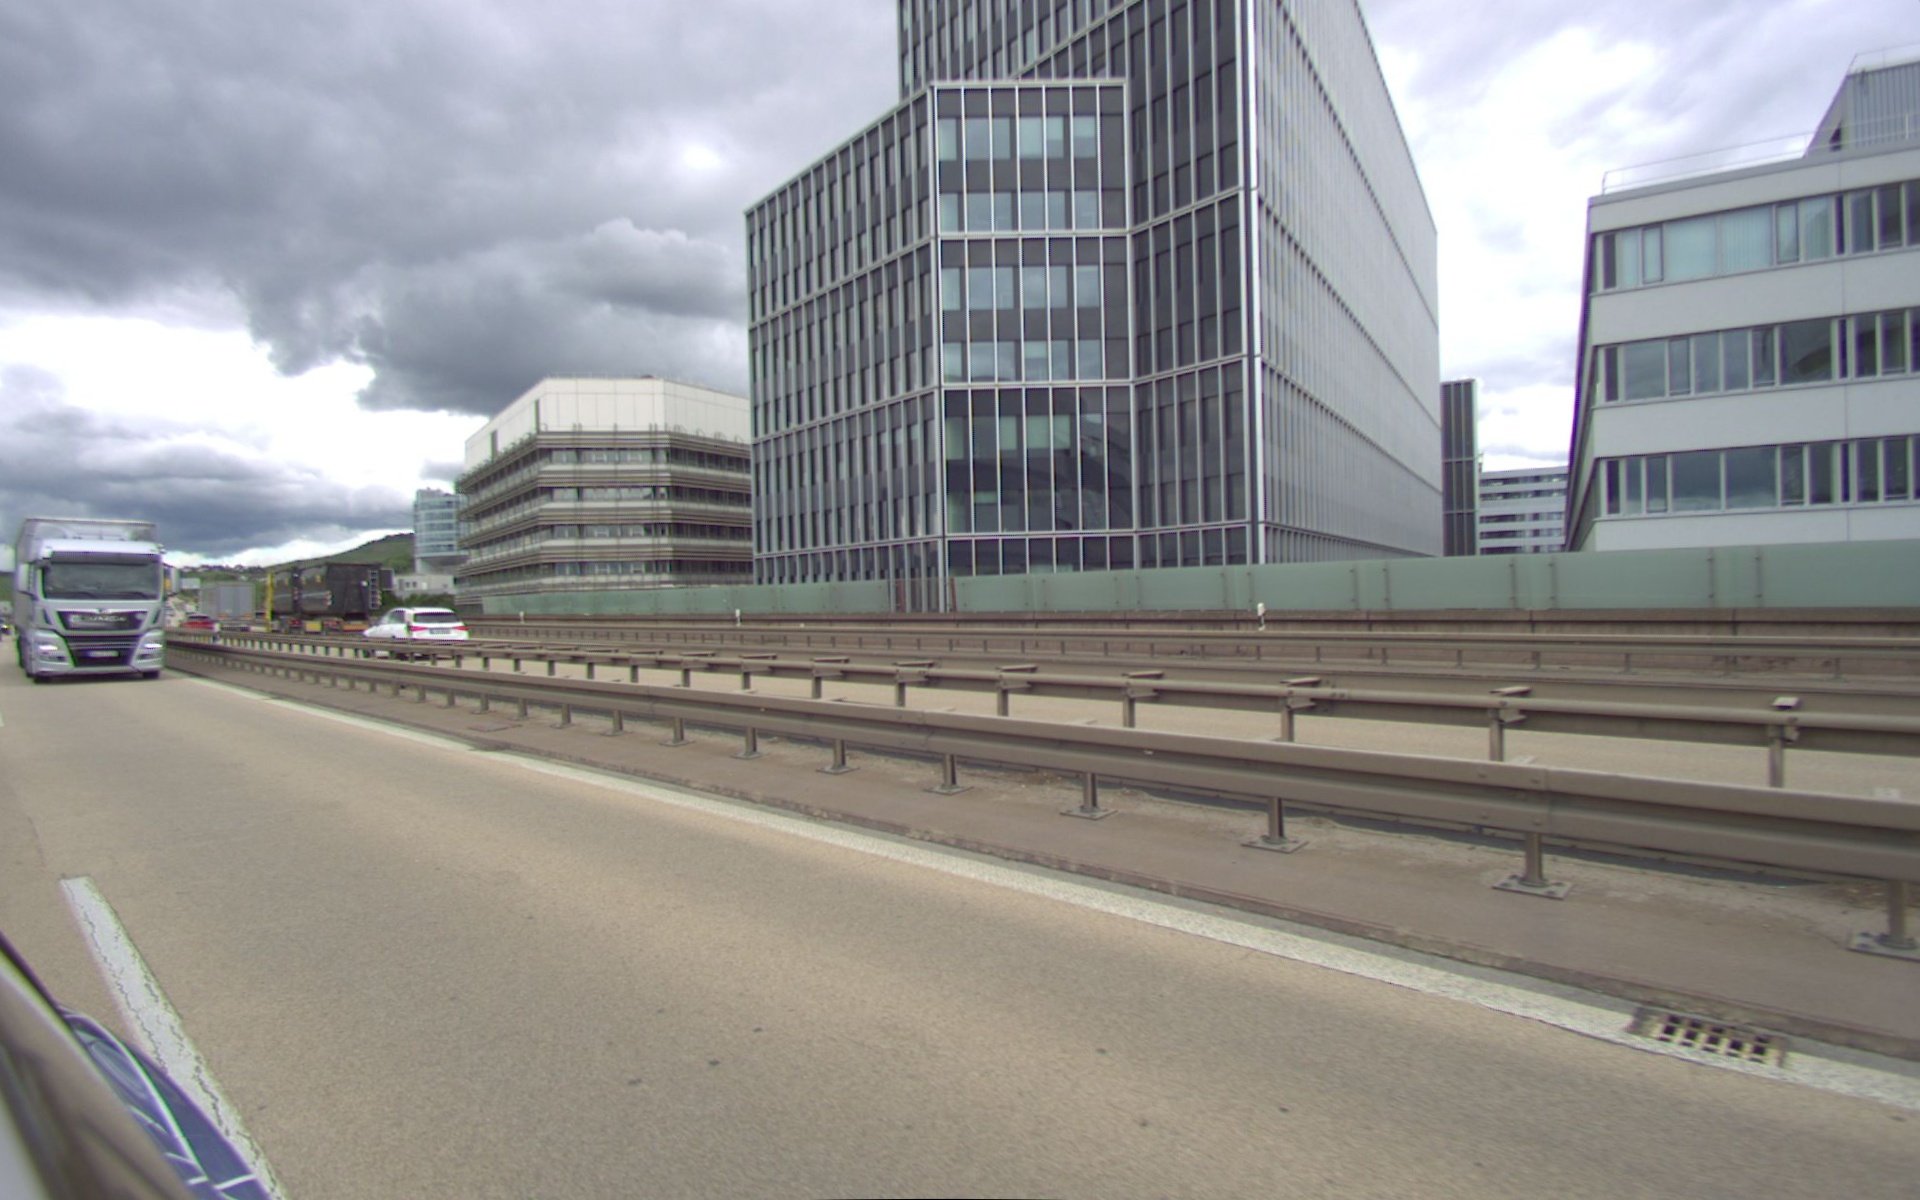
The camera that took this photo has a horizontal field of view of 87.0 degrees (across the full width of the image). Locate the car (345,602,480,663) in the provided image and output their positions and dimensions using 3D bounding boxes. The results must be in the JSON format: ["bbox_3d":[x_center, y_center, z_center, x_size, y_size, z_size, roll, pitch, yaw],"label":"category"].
[{"bbox_3d":[-15.767,0.865,29.053,4.807,1.618,1.972,0,0,43],"label":"car"}]

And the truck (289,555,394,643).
[{"bbox_3d":[-31.759,-0.019,51.783,3.020,4.096,8.673,0,-1,-42],"label":"truck"}]

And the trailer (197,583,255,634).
[{"bbox_3d":[-61.225,0.616,84.278,2.810,4.017,11.903,0,0,-41],"label":"trailer"}]

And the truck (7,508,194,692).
[{"bbox_3d":[-21.671,-0.022,25.421,3.098,4.067,5.692,-2,1,-45],"label":"truck"}]

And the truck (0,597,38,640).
[{"bbox_3d":[-75.142,1.430,80.537,2.301,3.262,6.697,0,0,-40],"label":"truck"}]

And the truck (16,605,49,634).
[{"bbox_3d":[-105.770,2.155,115.463,2.301,3.262,6.699,0,0,-39],"label":"truck"}]

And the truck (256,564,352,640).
[{"bbox_3d":[-38.768,0.153,59.565,3.020,4.096,11.872,0,-1,-42],"label":"truck"}]

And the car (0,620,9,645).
[{"bbox_3d":[-63.857,2.156,66.486,1.903,1.606,4.065,-1,1,-43],"label":"car"}]

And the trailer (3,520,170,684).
[{"bbox_3d":[-26.516,0.057,30.423,3.144,4.056,11.775,-2,1,-44],"label":"trailer"}]

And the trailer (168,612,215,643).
[{"bbox_3d":[-50.873,1.789,66.947,1.971,2.029,4.002,0,-1,-45],"label":"trailer"}]
